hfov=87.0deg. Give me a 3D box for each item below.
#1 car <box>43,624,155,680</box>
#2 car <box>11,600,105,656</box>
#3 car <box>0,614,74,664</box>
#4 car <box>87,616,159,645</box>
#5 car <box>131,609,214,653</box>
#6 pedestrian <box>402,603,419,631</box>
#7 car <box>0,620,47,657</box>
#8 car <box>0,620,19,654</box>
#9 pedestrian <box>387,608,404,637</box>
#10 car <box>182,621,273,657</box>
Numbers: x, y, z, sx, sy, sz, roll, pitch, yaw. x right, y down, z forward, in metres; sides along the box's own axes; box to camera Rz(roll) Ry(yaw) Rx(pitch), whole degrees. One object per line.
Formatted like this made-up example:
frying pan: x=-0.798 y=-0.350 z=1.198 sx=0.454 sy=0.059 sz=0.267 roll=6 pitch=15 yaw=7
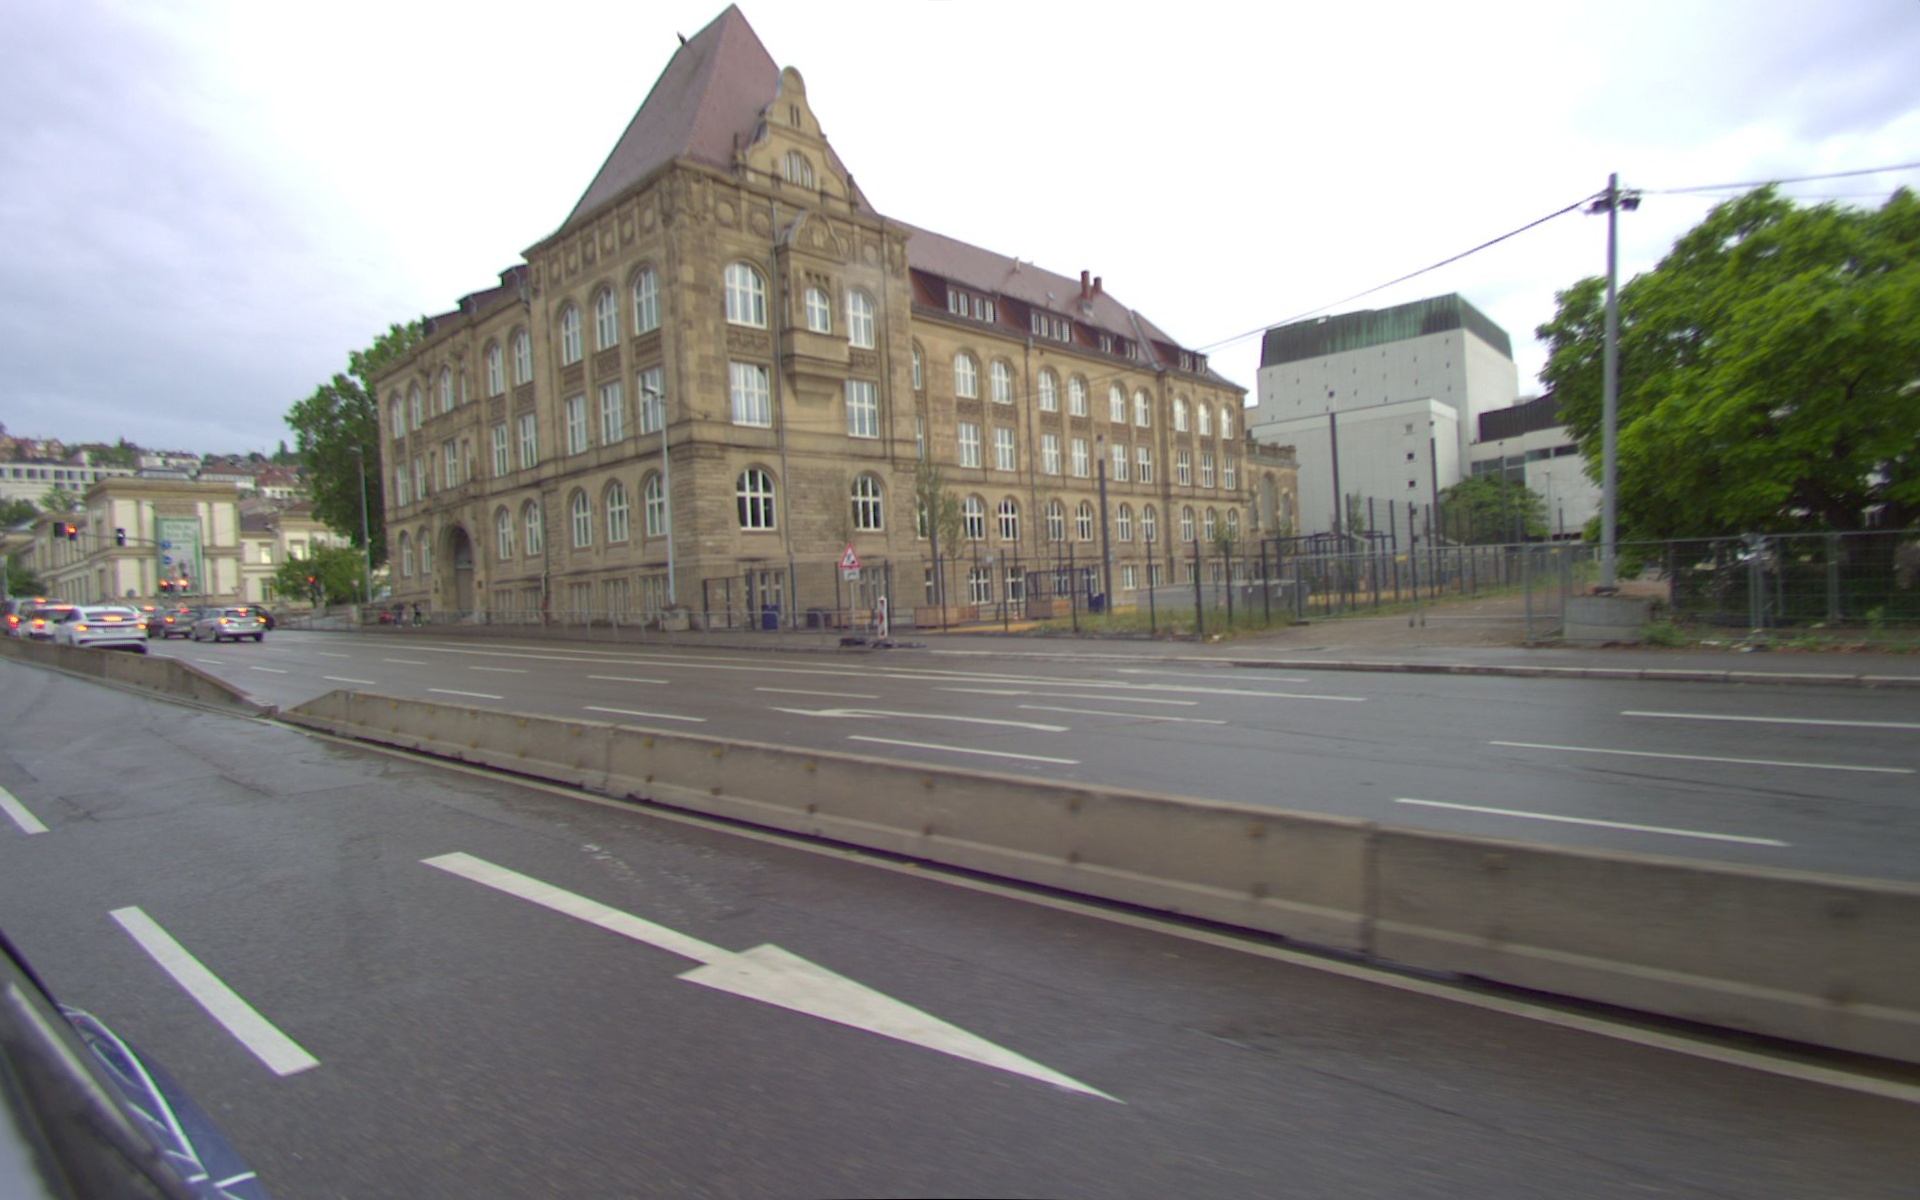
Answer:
car: x=-27.378 y=1.578 z=32.118 sx=4.893 sy=1.579 sz=1.875 roll=-1 pitch=0 yaw=39
car: x=-32.495 y=0.975 z=36.423 sx=4.374 sy=1.880 sz=1.890 roll=-1 pitch=0 yaw=39
car: x=-37.661 y=1.505 z=40.862 sx=5.590 sy=1.880 sz=1.974 roll=-1 pitch=0 yaw=39
car: x=-43.415 y=1.536 z=52.492 sx=4.205 sy=1.393 sz=1.975 roll=-1 pitch=0 yaw=37
car: x=-37.850 y=1.444 z=48.603 sx=3.988 sy=2.029 sz=1.978 roll=-1 pitch=0 yaw=33
pedestrian: x=-31.309 y=0.983 z=57.674 sx=0.733 sy=1.596 sz=0.611 roll=-1 pitch=0 yaw=34
car: x=-43.039 y=1.709 z=45.680 sx=4.815 sy=1.513 sz=1.974 roll=-1 pitch=0 yaw=38
car: x=-47.733 y=1.773 z=49.321 sx=5.375 sy=1.579 sz=1.974 roll=-1 pitch=0 yaw=38
pedestrian: x=-31.922 y=1.282 z=57.249 sx=0.734 sy=1.596 sz=0.610 roll=-1 pitch=0 yaw=41
car: x=-31.600 y=1.646 z=43.639 sx=4.203 sy=1.393 sz=1.976 roll=-1 pitch=0 yaw=36
